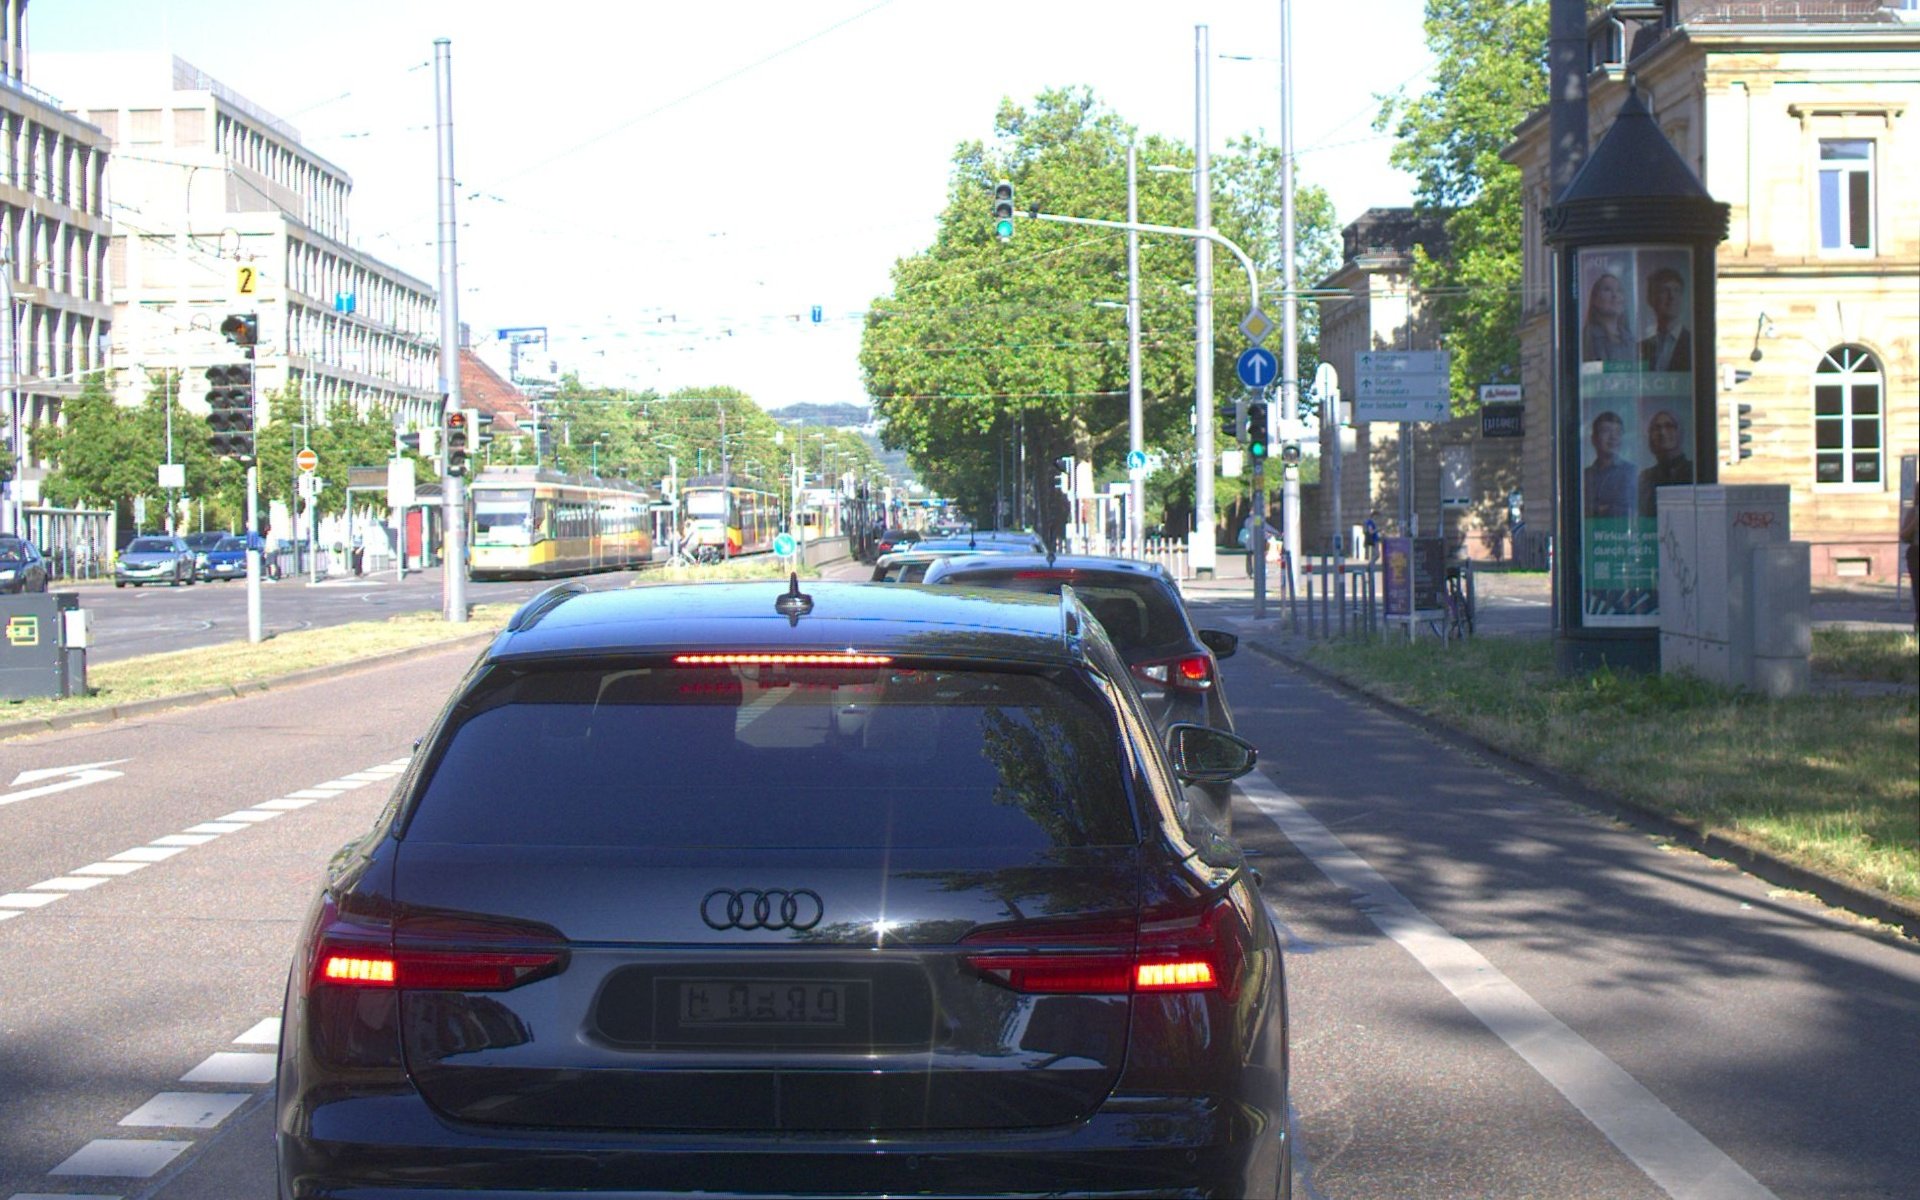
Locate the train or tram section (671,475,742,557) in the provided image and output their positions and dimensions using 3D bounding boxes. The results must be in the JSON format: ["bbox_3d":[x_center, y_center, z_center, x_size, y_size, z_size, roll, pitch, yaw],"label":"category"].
[{"bbox_3d":[-11.052,-3.682,150.660,2.608,3.439,11.134,-1,1,-2],"label":"train or tram section"}]

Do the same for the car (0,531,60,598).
[{"bbox_3d":[-21.513,-0.809,76.890,1.819,1.452,4.166,-1,1,-3],"label":"car"}]

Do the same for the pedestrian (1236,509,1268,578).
[{"bbox_3d":[7.056,-1.378,83.109,0.682,1.655,0.758,-1,1,-2],"label":"pedestrian"}]

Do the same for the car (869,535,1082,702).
[{"bbox_3d":[0.145,0.140,32.992,1.902,1.481,4.144,1,1,0],"label":"car"}]

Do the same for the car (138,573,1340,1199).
[{"bbox_3d":[-0.347,0.674,7.542,1.902,1.417,4.144,1,1,0],"label":"car"}]

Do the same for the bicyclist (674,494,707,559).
[{"bbox_3d":[-7.671,-2.091,97.753,0.756,1.812,0.765,-1,1,-18],"label":"bicyclist"}]

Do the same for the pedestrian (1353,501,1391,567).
[{"bbox_3d":[11.703,-1.874,97.701,0.979,1.859,0.827,-1,1,0],"label":"pedestrian"}]

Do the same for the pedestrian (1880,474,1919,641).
[{"bbox_3d":[10.072,-0.448,35.669,0.769,1.703,1.042,-1,1,1],"label":"pedestrian"}]

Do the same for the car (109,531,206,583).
[{"bbox_3d":[-23.204,-1.266,99.533,1.820,1.452,4.541,-1,1,-1],"label":"car"}]

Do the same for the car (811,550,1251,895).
[{"bbox_3d":[0.316,0.504,17.057,1.902,1.481,4.144,1,1,0],"label":"car"}]

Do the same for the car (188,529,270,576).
[{"bbox_3d":[-23.536,-1.535,110.832,1.820,1.452,4.157,-1,1,-1],"label":"car"}]

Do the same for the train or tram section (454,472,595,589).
[{"bbox_3d":[-13.708,-2.228,109.321,2.813,3.477,13.205,-1,1,0],"label":"train or tram section"}]

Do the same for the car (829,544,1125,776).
[{"bbox_3d":[0.120,0.357,24.318,1.902,1.481,4.144,1,1,0],"label":"car"}]

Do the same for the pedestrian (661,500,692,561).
[{"bbox_3d":[-8.204,-2.005,99.441,0.739,1.735,0.664,-1,1,-16],"label":"pedestrian"}]

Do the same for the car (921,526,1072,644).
[{"bbox_3d":[0.478,-0.222,45.745,1.902,1.481,4.144,1,1,0],"label":"car"}]

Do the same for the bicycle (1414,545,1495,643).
[{"bbox_3d":[5.582,-0.078,38.858,0.540,1.058,1.772,-1,1,-4],"label":"bicycle"}]

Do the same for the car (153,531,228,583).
[{"bbox_3d":[-27.850,-1.578,124.555,1.842,1.806,4.113,-1,1,-1],"label":"car"}]

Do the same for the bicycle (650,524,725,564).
[{"bbox_3d":[-7.744,-1.588,97.740,2.005,1.104,0.765,-1,1,-18],"label":"bicycle"}]
